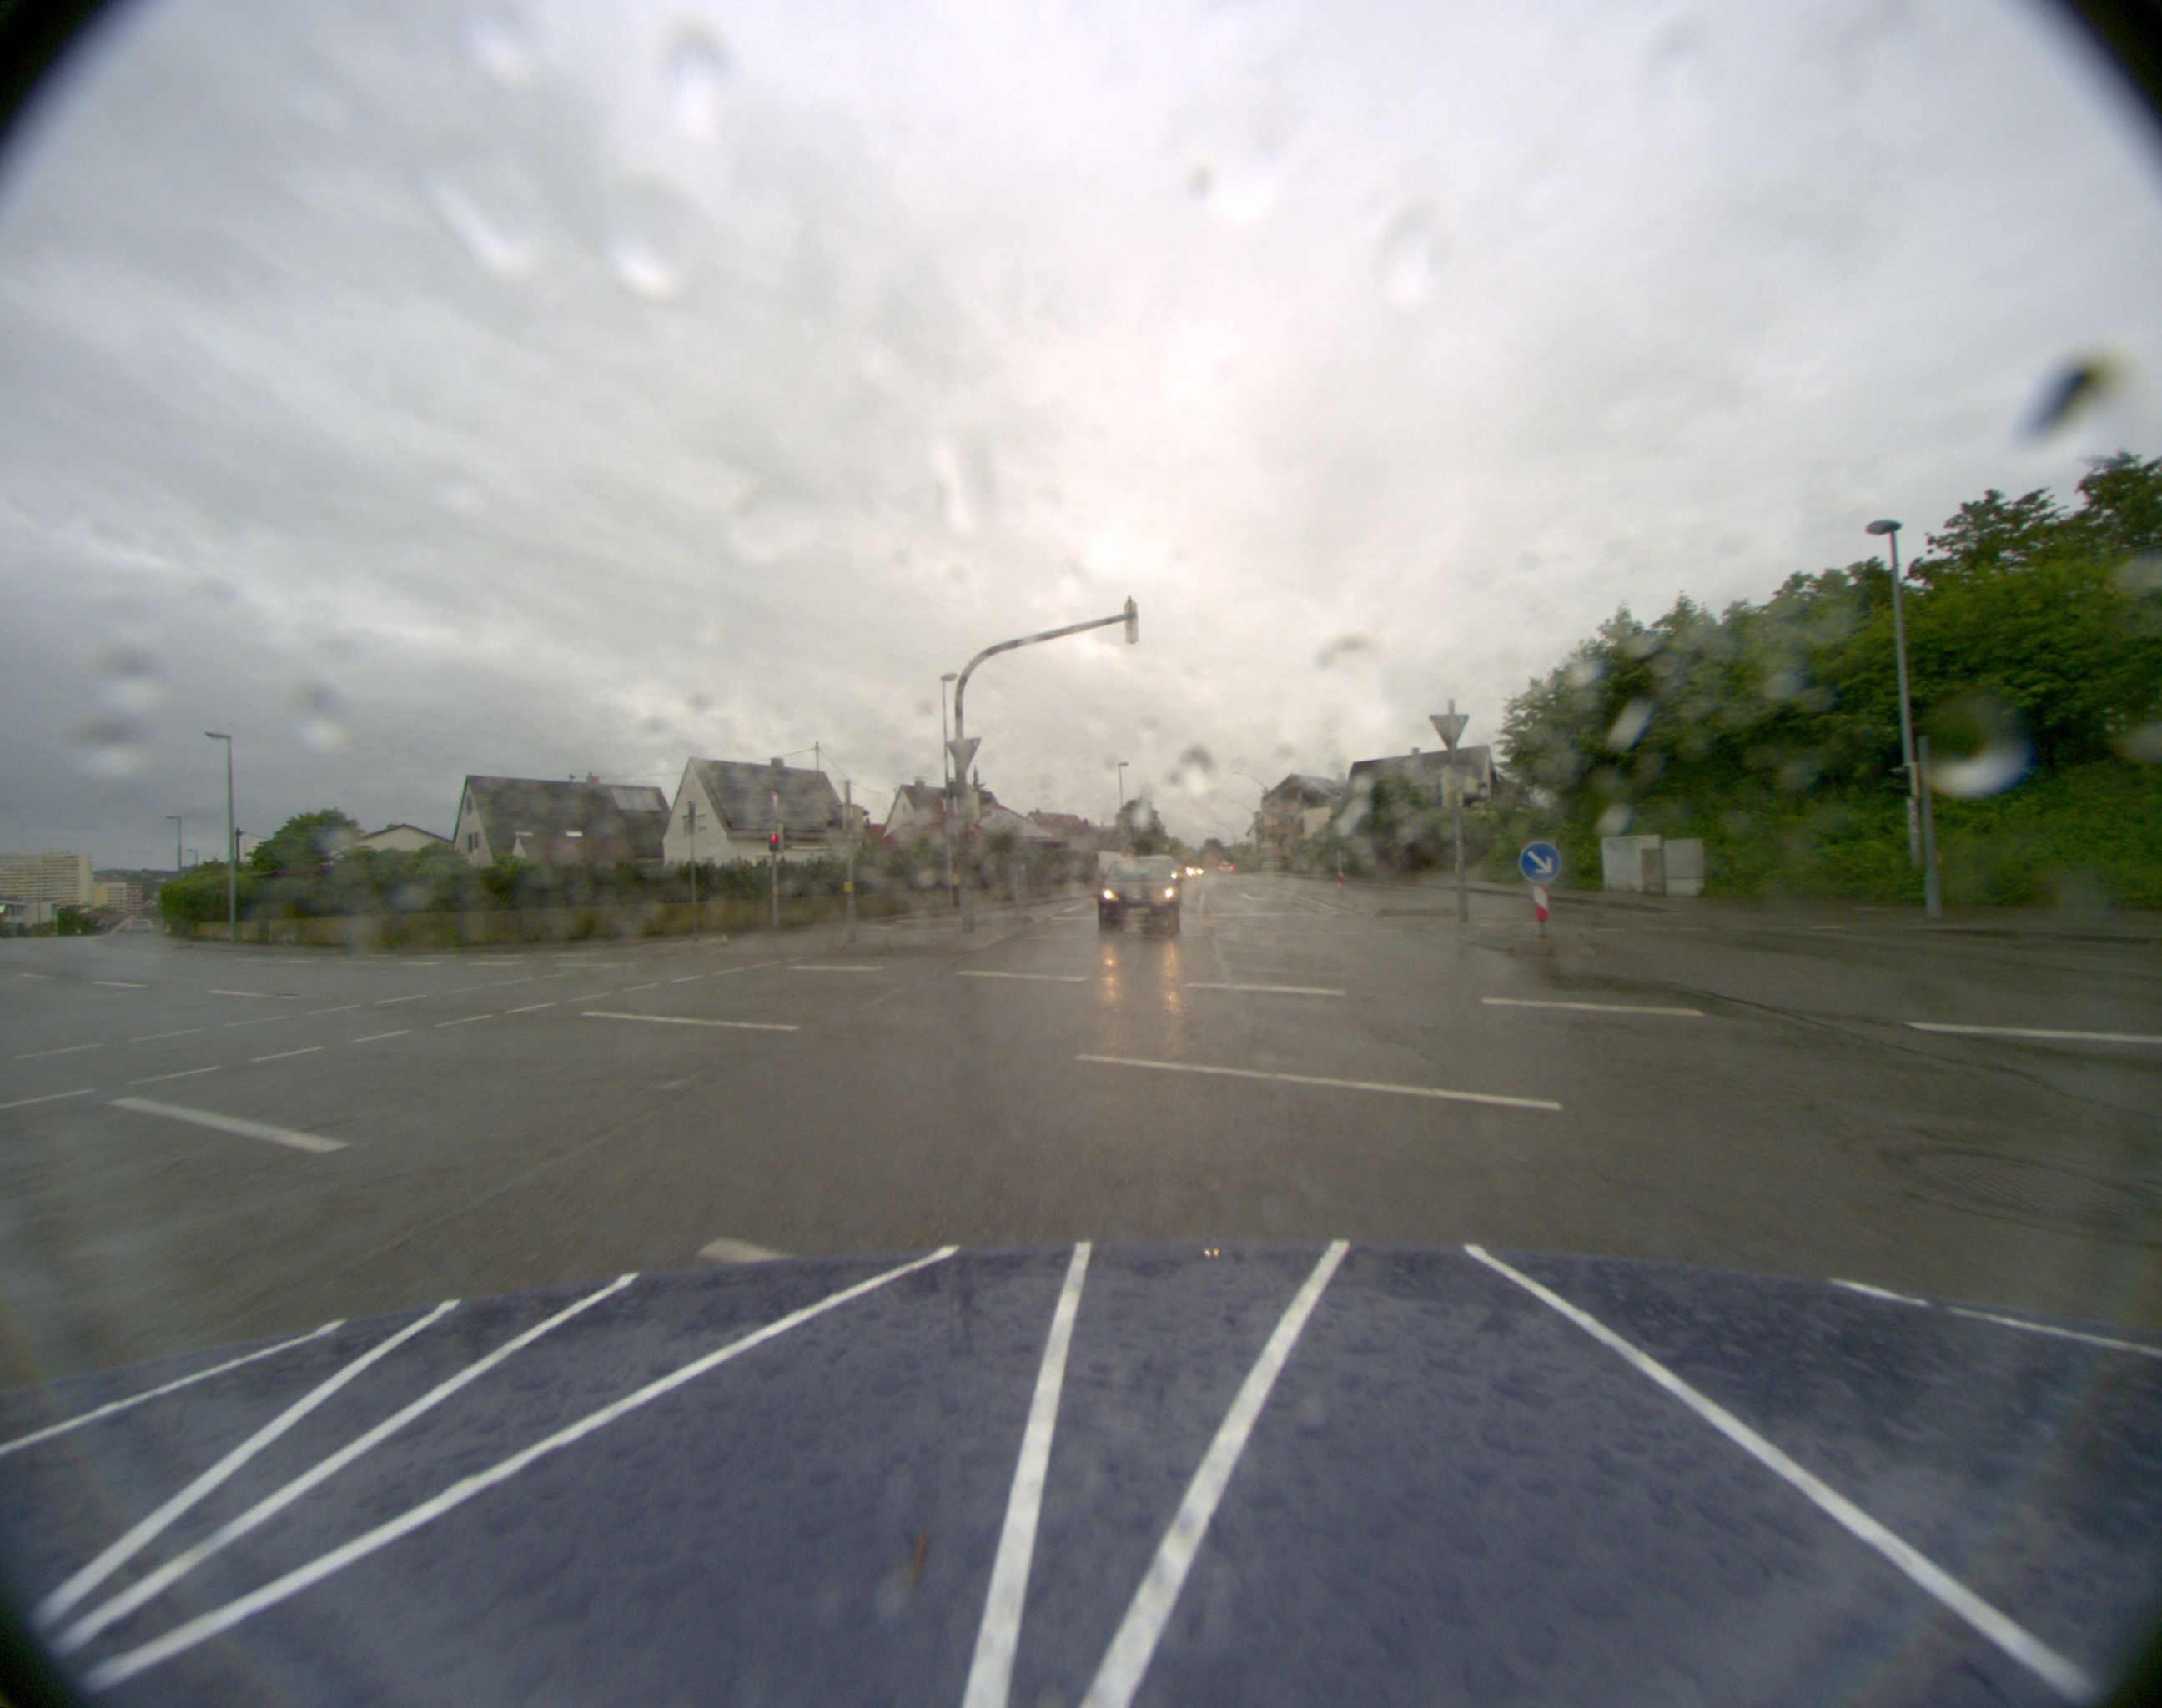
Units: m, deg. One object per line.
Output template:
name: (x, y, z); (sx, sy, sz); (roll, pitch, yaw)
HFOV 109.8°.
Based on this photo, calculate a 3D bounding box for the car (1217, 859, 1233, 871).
car: (18.935, 1.389, 100.060); (1.624, 1.496, 3.824); (-1, 0, 4)

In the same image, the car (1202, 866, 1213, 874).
car: (26.266, 3.252, 158.148); (1.668, 1.496, 4.323); (-2, 0, 3)

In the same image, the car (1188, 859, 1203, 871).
car: (16.899, 1.602, 112.134); (1.757, 1.547, 3.920); (-2, 0, 5)

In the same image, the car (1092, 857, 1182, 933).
car: (1.361, 0.822, 16.903); (1.664, 1.410, 3.935); (-2, 0, 8)

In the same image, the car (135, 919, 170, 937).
car: (-95.566, 7.595, 78.215); (3.989, 1.489, 1.857); (-1, 1, 45)

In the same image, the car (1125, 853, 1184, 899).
car: (2.679, 0.745, 27.064); (1.897, 1.474, 4.003); (-2, 0, 7)

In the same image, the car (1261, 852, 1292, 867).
car: (22.467, 0.624, 87.253); (1.661, 1.538, 4.008); (-1, 1, 44)

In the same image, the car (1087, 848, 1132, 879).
car: (2.381, 0.727, 62.076); (1.650, 2.337, 4.008); (-2, 0, 37)
